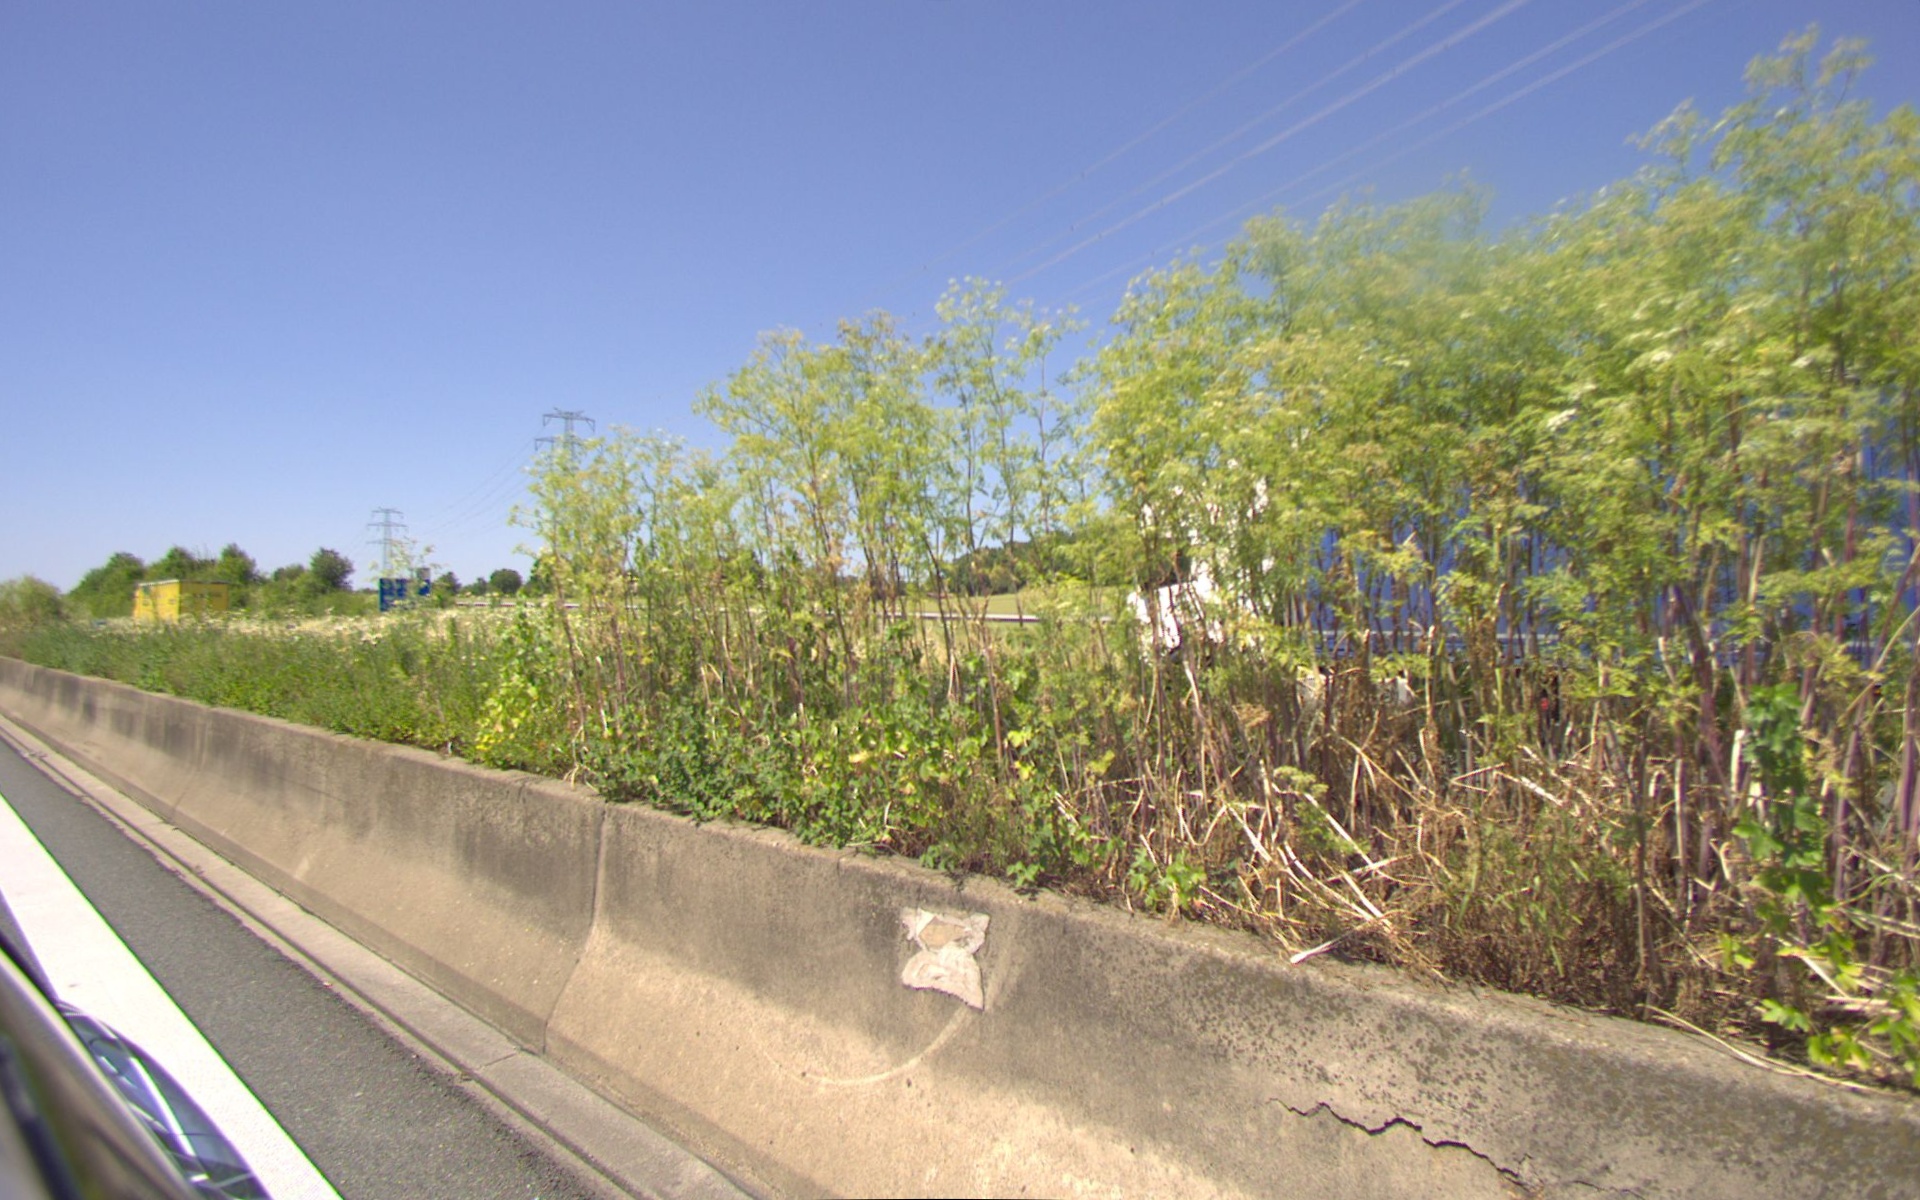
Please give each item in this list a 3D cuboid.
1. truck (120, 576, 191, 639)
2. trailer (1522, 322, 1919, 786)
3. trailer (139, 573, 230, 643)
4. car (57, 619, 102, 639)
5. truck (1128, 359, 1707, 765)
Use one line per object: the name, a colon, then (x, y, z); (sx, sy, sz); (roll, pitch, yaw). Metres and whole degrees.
truck: (-56.808, 0.502, 71.420); (7.324, 4.268, 2.748); (0, 1, 42)
trailer: (11.447, -0.442, 8.889); (10.980, 4.260, 2.979); (-1, -1, 43)
trailer: (-50.565, 0.463, 65.827); (10.683, 4.238, 2.792); (0, 1, 42)
car: (-55.082, 1.798, 63.276); (3.340, 1.139, 1.658); (-1, 0, 41)
truck: (5.985, -0.367, 13.978); (6.685, 4.260, 2.979); (-1, -1, 43)
